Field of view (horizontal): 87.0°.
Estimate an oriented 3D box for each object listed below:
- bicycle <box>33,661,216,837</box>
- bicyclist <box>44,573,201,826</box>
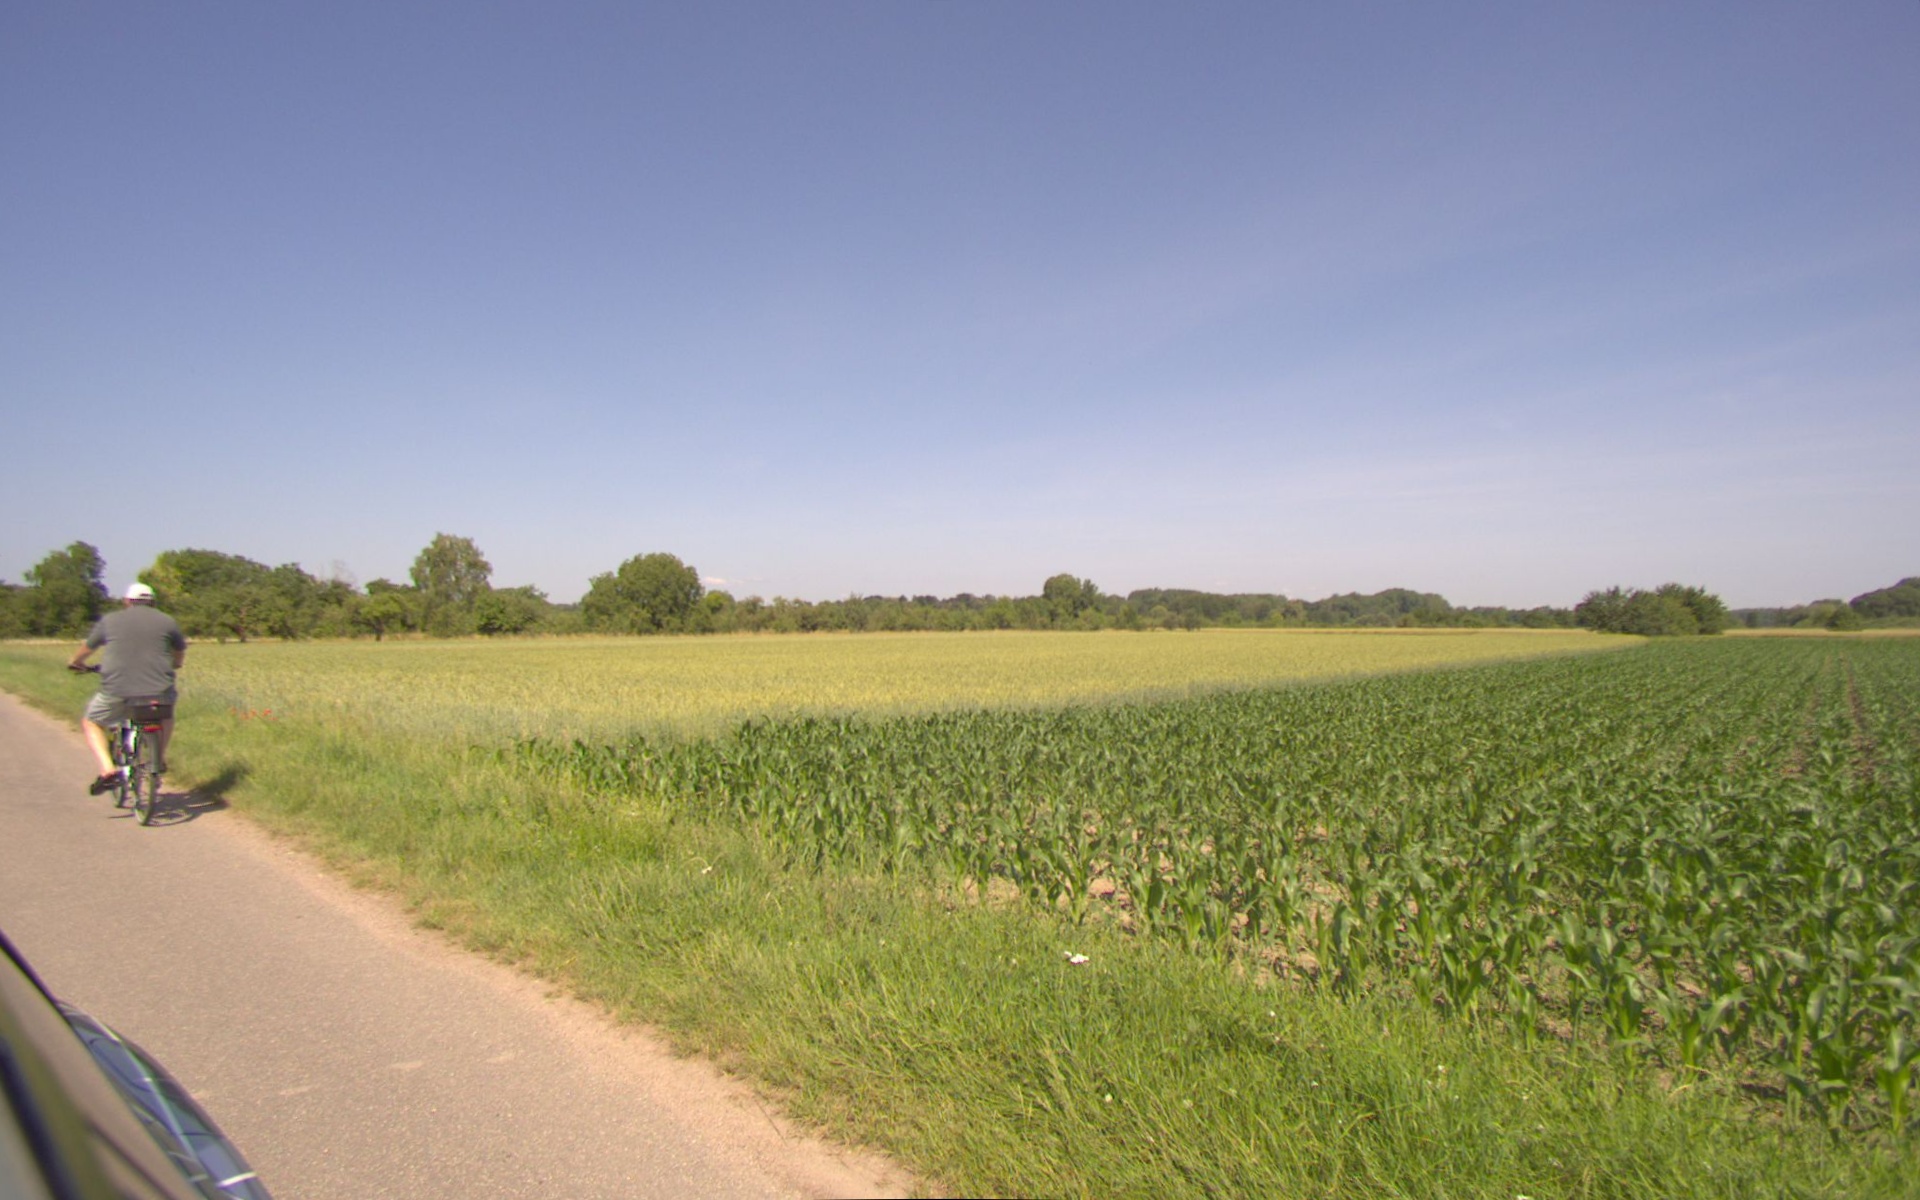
[{"bbox_3d":[-6.469,1.071,7.798,1.907,1.136,0.742,-1,-3,41],"label":"bicycle"},{"bbox_3d":[-6.430,0.732,7.779,0.716,1.805,0.743,-1,-4,41],"label":"bicyclist"}]
